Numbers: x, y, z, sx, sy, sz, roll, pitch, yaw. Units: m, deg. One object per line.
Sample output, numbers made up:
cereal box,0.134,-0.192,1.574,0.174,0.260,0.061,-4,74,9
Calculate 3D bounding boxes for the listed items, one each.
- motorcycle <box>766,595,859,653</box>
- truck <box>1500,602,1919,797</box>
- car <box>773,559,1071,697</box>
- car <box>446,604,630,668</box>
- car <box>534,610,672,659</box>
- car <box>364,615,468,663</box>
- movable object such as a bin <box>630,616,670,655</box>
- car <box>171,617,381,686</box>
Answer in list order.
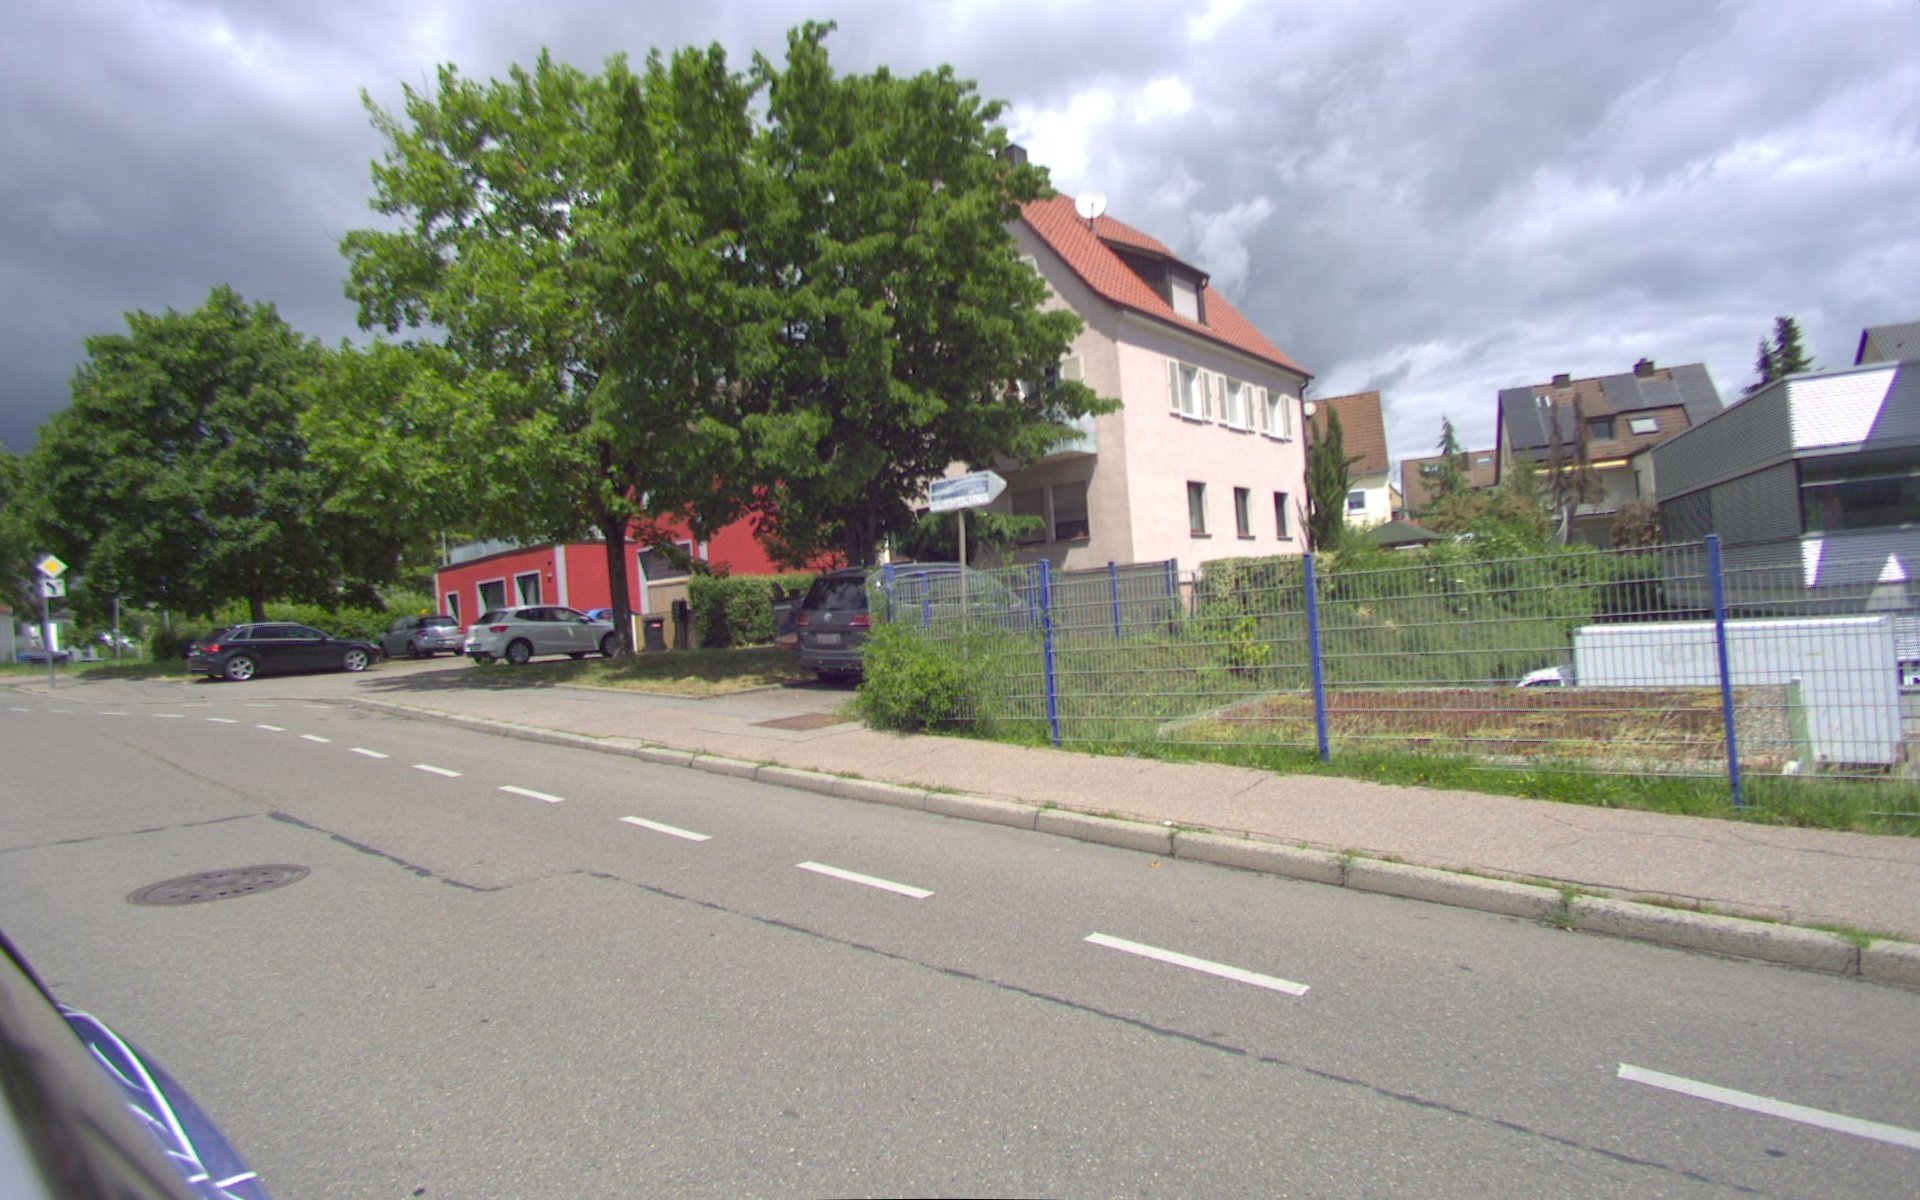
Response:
motorcycle,-3.638,0.594,24.823,2.233,1.325,0.909,-2,1,38
truck,13.222,1.576,18.056,5.880,2.895,2.432,-2,0,41
car,-0.409,0.291,15.531,1.998,1.729,4.654,0,2,39
car,-10.593,0.874,25.633,1.872,1.414,3.884,-3,-1,36
car,-11.458,1.083,32.618,1.841,1.388,3.763,-4,-1,40
car,-18.596,1.343,34.520,4.073,1.436,1.624,-3,1,39
movable object such as a bin,-9.062,1.026,29.556,0.880,1.069,0.747,-2,1,44
car,-17.700,1.300,26.342,1.998,1.404,4.090,-3,0,39
